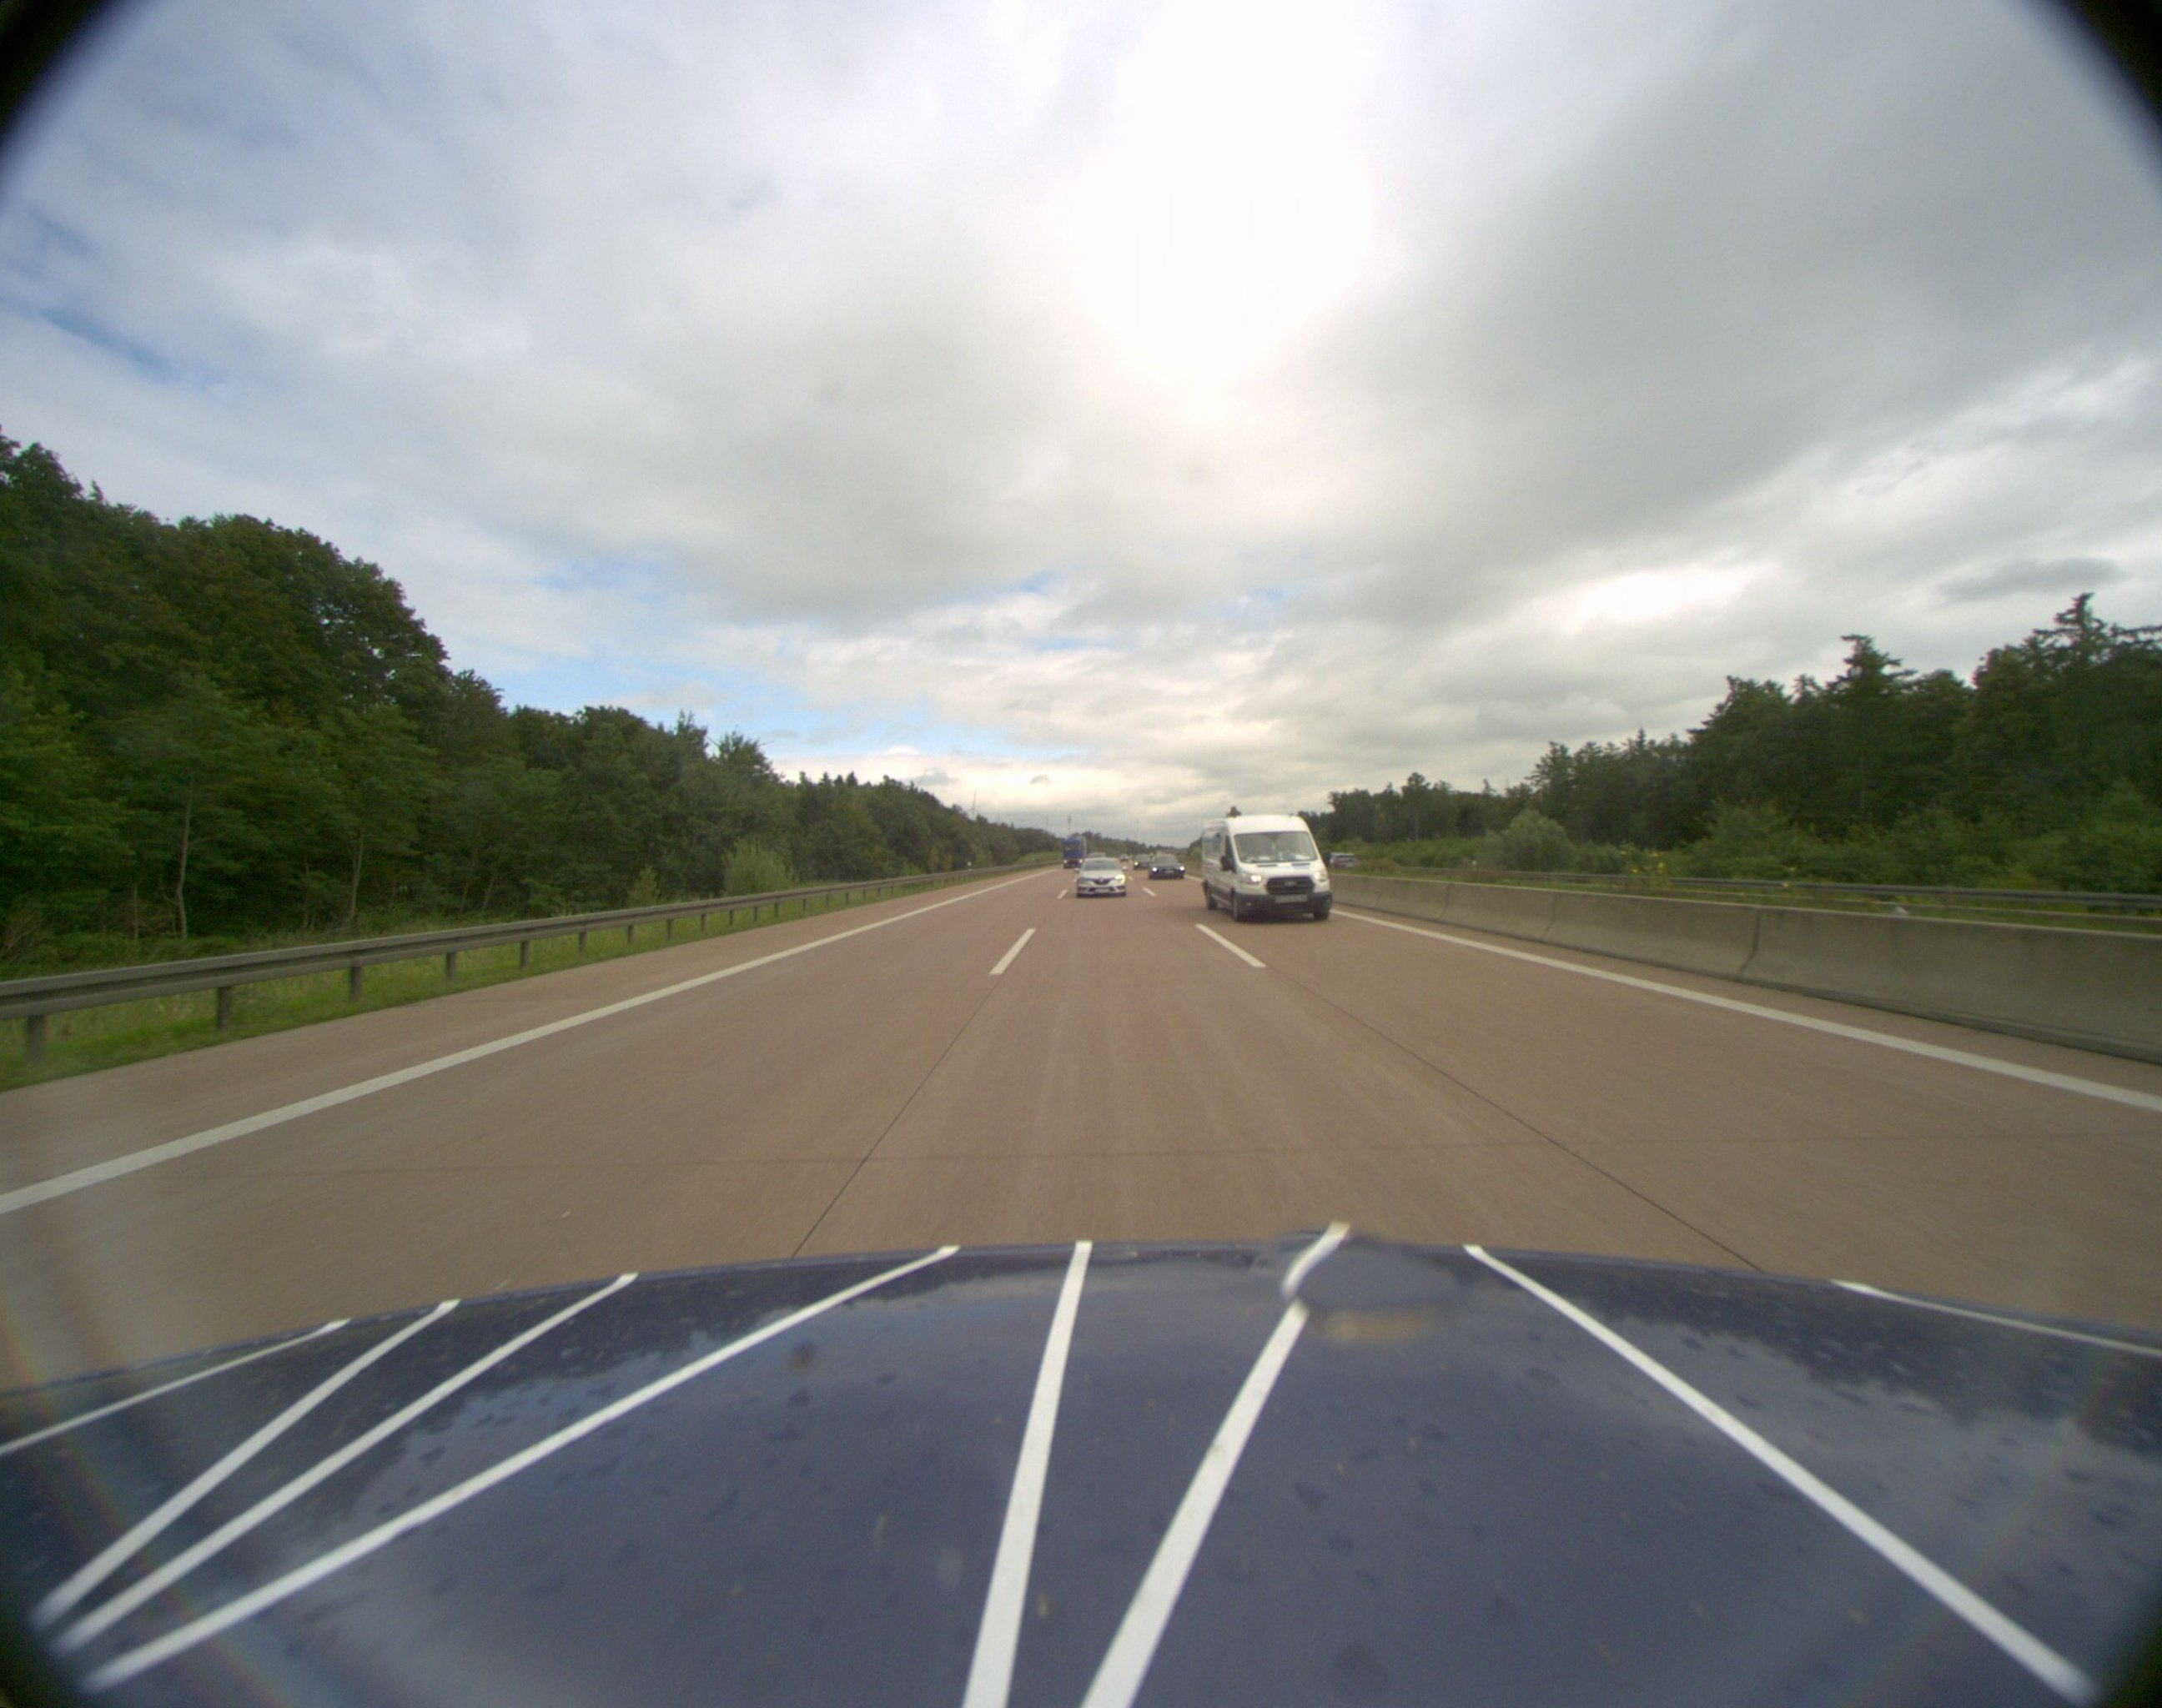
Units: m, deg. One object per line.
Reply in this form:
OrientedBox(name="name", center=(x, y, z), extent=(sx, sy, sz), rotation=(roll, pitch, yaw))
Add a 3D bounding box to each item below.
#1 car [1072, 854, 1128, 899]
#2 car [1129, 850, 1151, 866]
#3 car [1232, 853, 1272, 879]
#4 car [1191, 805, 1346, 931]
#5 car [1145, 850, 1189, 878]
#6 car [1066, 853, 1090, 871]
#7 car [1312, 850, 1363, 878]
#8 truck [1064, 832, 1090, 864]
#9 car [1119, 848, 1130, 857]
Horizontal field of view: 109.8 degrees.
OrientedBox(name="car", center=(0.701, 0.782, 28.814), extent=(1.923, 1.516, 4.000), rotation=(-2, 0, 1))
OrientedBox(name="car", center=(5.861, 0.366, 75.763), extent=(2.063, 1.483, 5.453), rotation=(-2, 1, 4))
OrientedBox(name="car", center=(12.841, 0.861, 57.174), extent=(1.968, 1.665, 4.430), rotation=(-4, 0, 1))
OrientedBox(name="car", center=(4.289, 0.263, 18.847), extent=(2.143, 2.492, 7.131), rotation=(-1, 0, 1))
OrientedBox(name="car", center=(5.173, 0.558, 46.405), extent=(2.090, 1.541, 5.674), rotation=(-2, 0, 1))
OrientedBox(name="car", center=(-0.240, 0.666, 66.719), extent=(1.986, 1.499, 4.051), rotation=(-2, 1, 1))
OrientedBox(name="car", center=(16.468, 0.591, 48.935), extent=(1.923, 1.665, 4.000), rotation=(-2, 0, 1))
OrientedBox(name="truck", center=(-0.500, -0.736, 97.054), extent=(2.956, 3.705, 7.948), rotation=(-4, 0, -1))
OrientedBox(name="car", center=(9.295, -0.316, 163.148), extent=(1.999, 1.689, 5.251), rotation=(-2, 1, -1))
